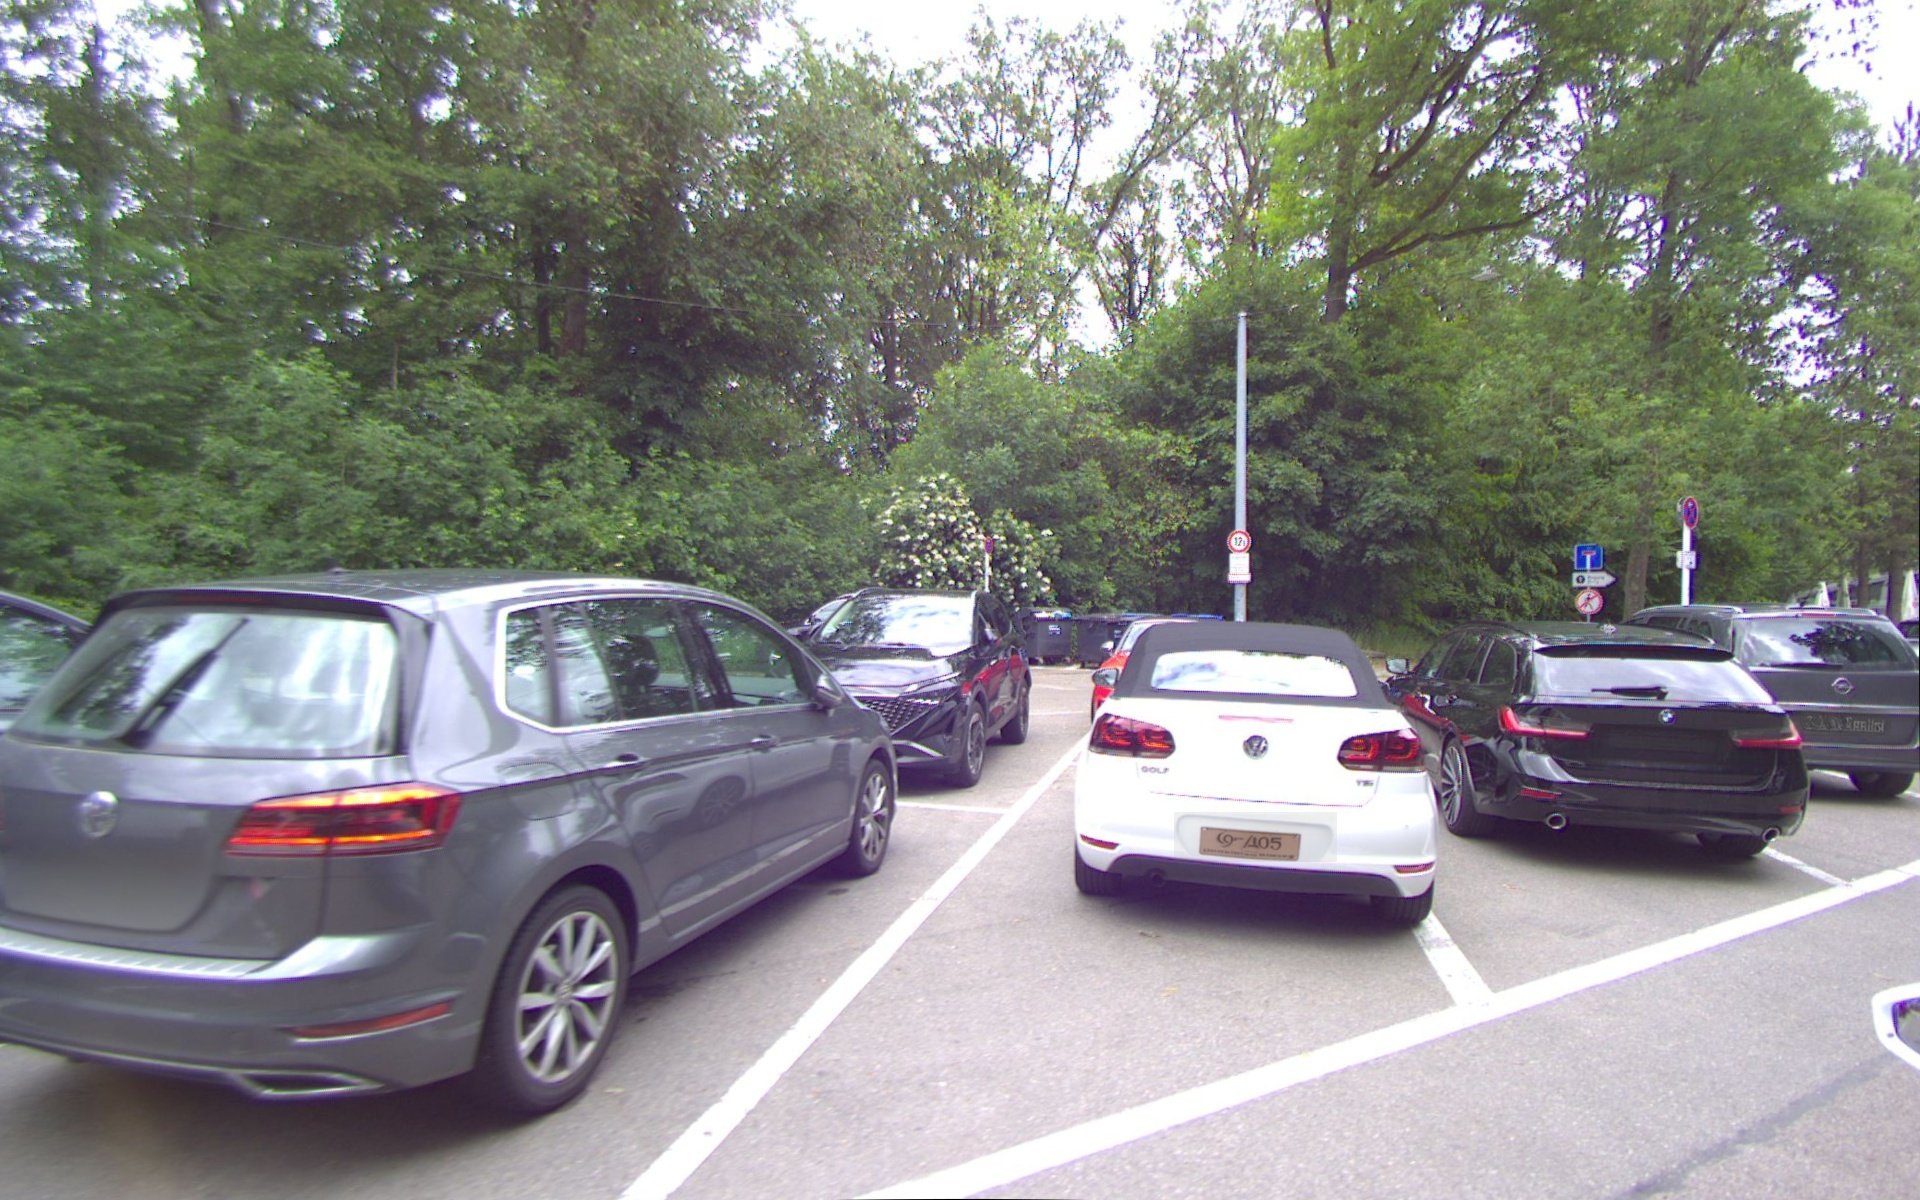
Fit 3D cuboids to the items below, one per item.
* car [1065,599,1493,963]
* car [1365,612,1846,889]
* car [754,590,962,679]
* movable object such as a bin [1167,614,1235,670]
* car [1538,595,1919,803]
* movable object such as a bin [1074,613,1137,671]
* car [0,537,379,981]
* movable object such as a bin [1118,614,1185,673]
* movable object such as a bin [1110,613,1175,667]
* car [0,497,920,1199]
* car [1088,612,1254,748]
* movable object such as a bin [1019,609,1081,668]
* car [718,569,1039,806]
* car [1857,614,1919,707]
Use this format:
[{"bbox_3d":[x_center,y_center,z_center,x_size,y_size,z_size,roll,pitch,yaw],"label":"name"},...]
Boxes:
[{"bbox_3d":[1.820,0.762,6.190,1.737,1.462,3.848,1,0,15],"label":"car"},{"bbox_3d":[4.417,0.844,7.719,1.724,1.462,4.281,1,0,13],"label":"car"},{"bbox_3d":[-2.136,0.697,21.360,3.990,1.707,1.785,1,0,16],"label":"car"},{"bbox_3d":[6.090,1.044,25.370,1.138,1.342,1.241,1,-1,-43],"label":"movable object such as a bin"},{"bbox_3d":[7.620,0.815,10.223,1.792,1.630,4.390,1,0,13],"label":"car"},{"bbox_3d":[3.499,0.994,24.099,1.107,1.332,1.182,1,-1,30],"label":"movable object such as a bin"},{"bbox_3d":[-4.321,0.552,3.549,1.835,1.575,4.002,1,0,8],"label":"car"},{"bbox_3d":[4.485,0.995,23.452,1.152,1.324,1.311,1,-1,30],"label":"movable object such as a bin"},{"bbox_3d":[4.679,1.018,25.785,1.228,1.337,1.116,1,-1,-35],"label":"movable object such as a bin"},{"bbox_3d":[-1.605,0.592,4.313,1.810,1.608,3.979,0,0,14],"label":"car"},{"bbox_3d":[2.801,0.880,12.921,1.733,1.412,4.394,1,-1,15],"label":"car"},{"bbox_3d":[2.245,0.952,25.166,1.116,1.444,1.119,1,-1,-27],"label":"movable object such as a bin"},{"bbox_3d":[-0.479,0.647,9.373,1.860,1.685,4.002,1,0,13],"label":"car"},{"bbox_3d":[18.484,1.084,18.412,3.952,1.606,1.884,1,0,-29],"label":"car"}]
